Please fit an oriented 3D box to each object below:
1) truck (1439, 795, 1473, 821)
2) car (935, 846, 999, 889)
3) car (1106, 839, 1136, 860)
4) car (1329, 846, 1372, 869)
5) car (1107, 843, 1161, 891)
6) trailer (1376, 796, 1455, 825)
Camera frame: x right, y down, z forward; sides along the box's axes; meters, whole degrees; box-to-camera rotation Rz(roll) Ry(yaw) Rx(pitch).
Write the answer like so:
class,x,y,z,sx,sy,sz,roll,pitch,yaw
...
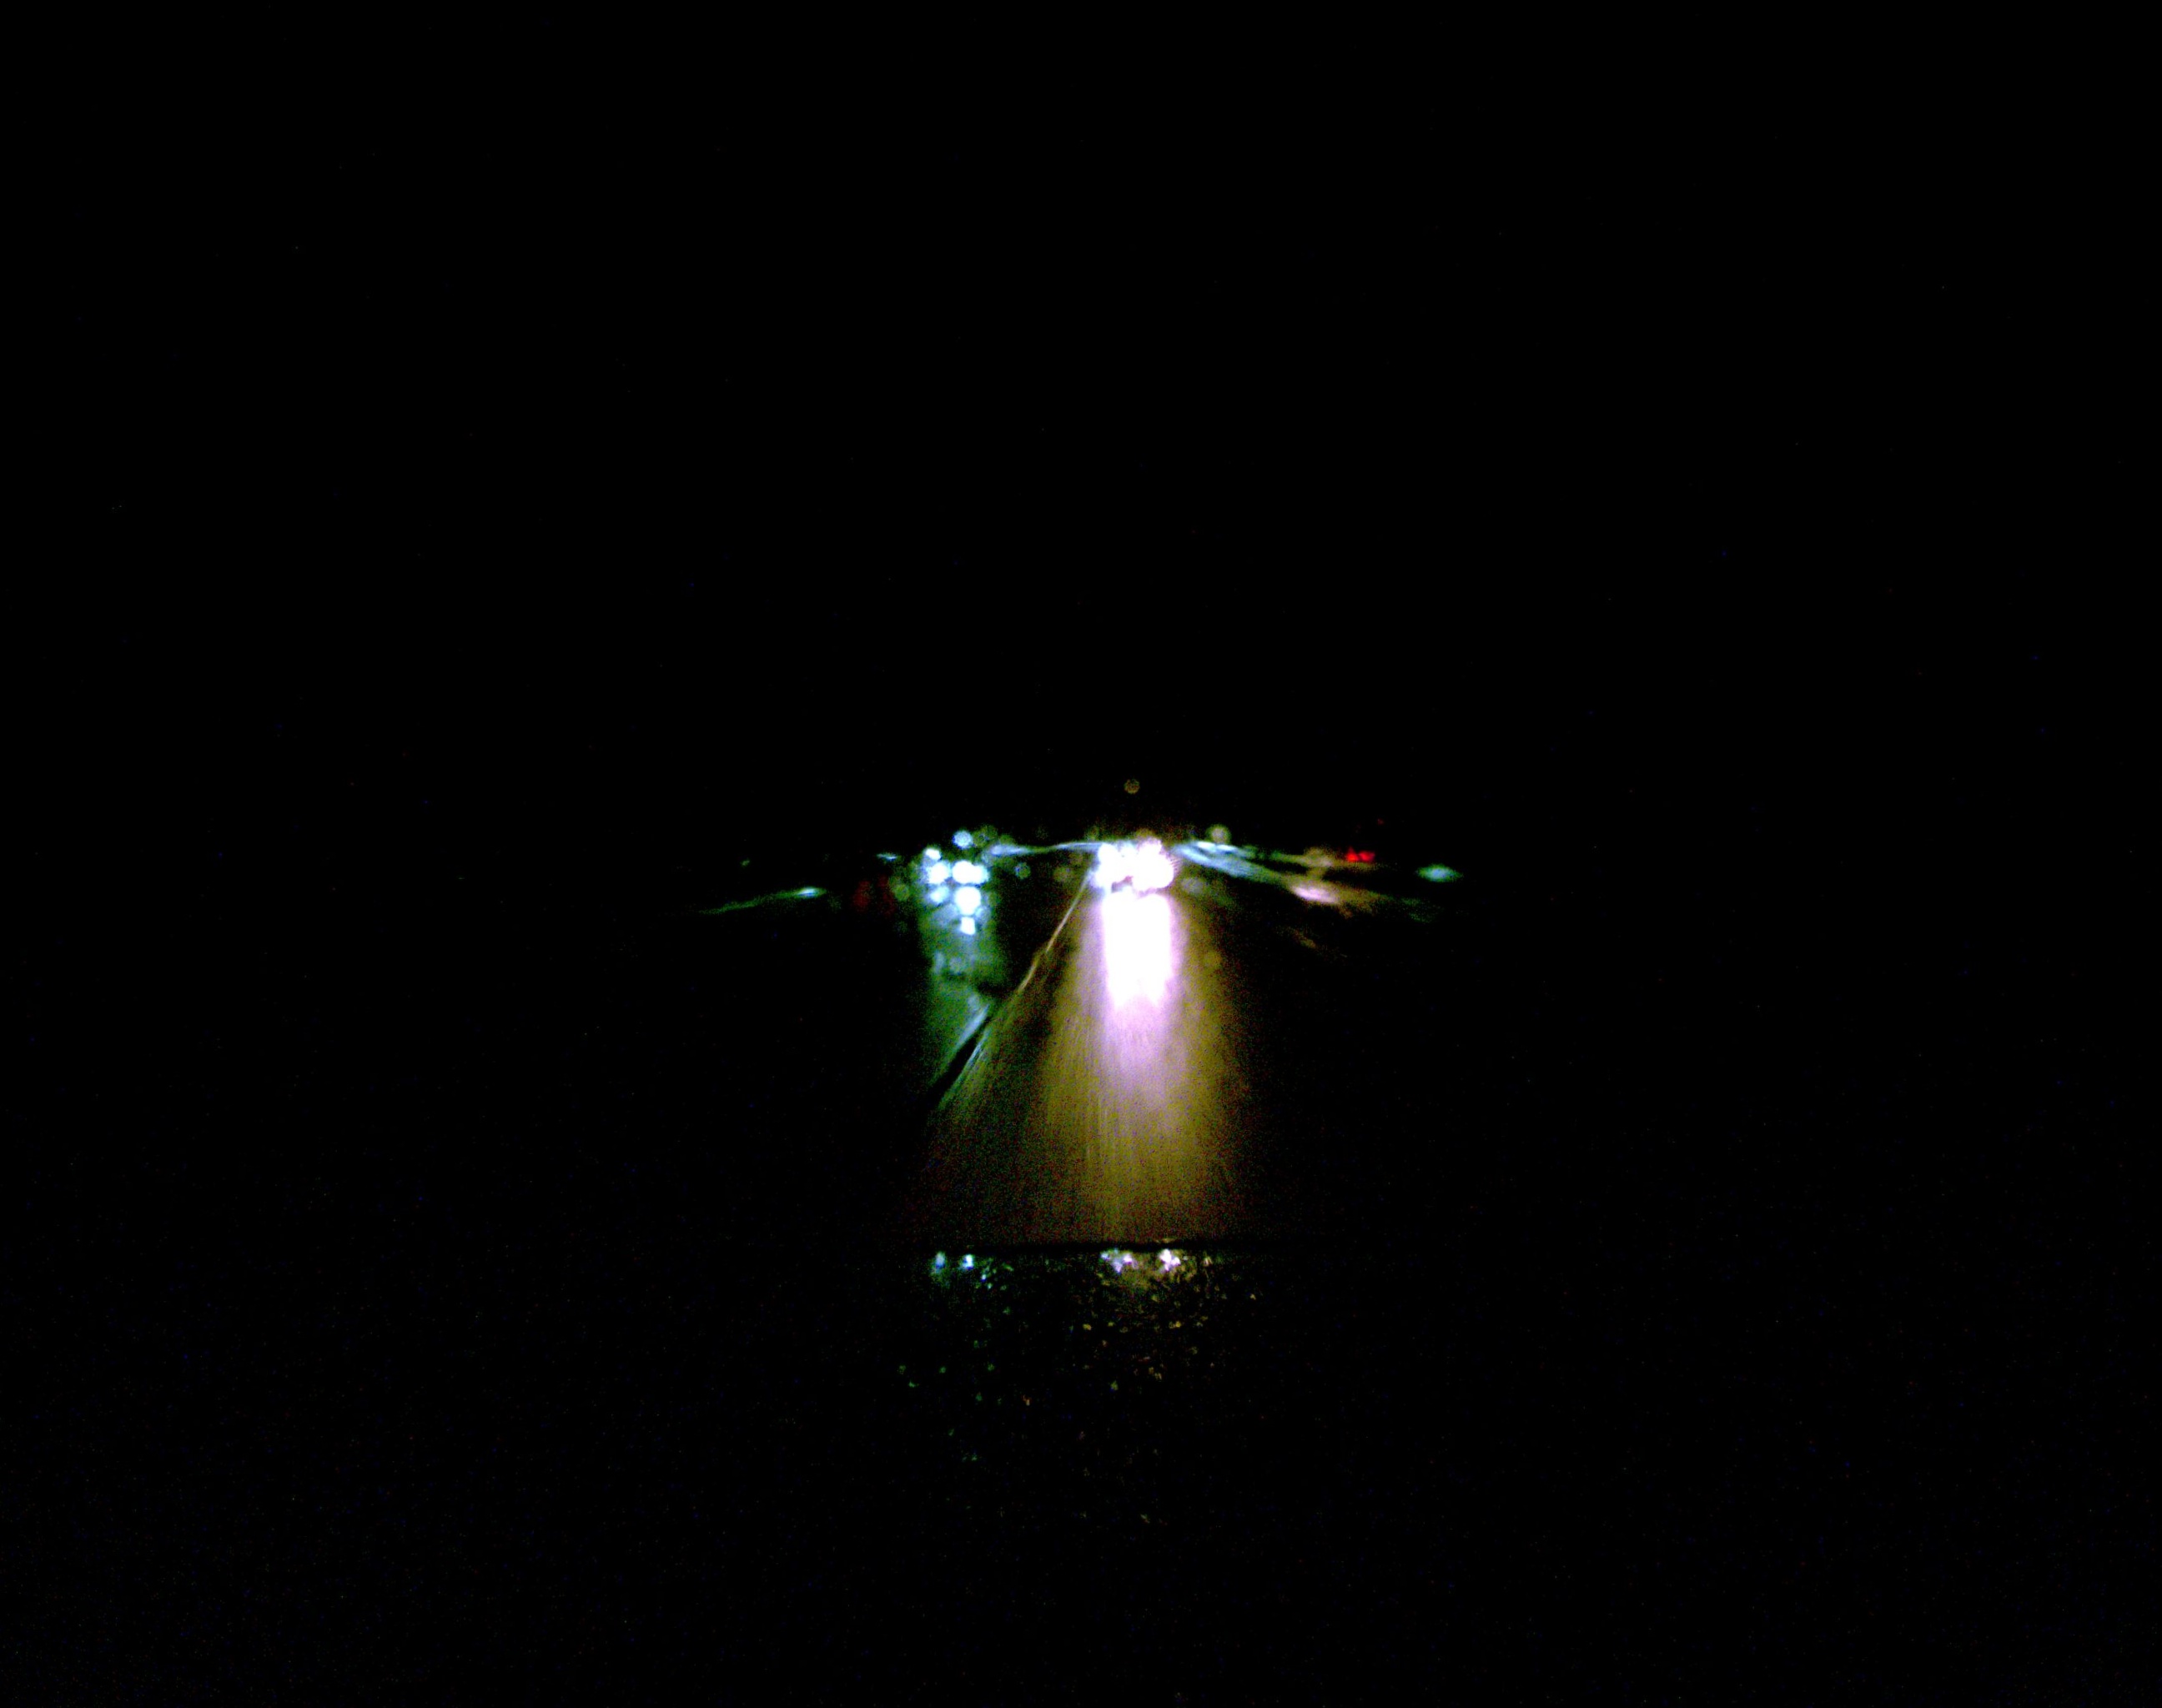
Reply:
class,x,y,z,sx,sy,sz,roll,pitch,yaw
truck,70.764,-8.710,143.491,5.551,4.313,2.542,-4,4,26
car,-5.377,0.597,36.290,1.740,1.674,4.122,-6,1,8
car,2.724,-0.332,52.473,1.760,1.304,4.084,-3,1,0
car,21.409,0.252,60.542,1.763,1.482,4.040,-2,4,-5
car,1.882,0.393,26.391,1.686,1.442,3.642,-2,1,5
trailer,64.461,-8.290,146.538,13.678,4.313,2.542,-4,4,26
